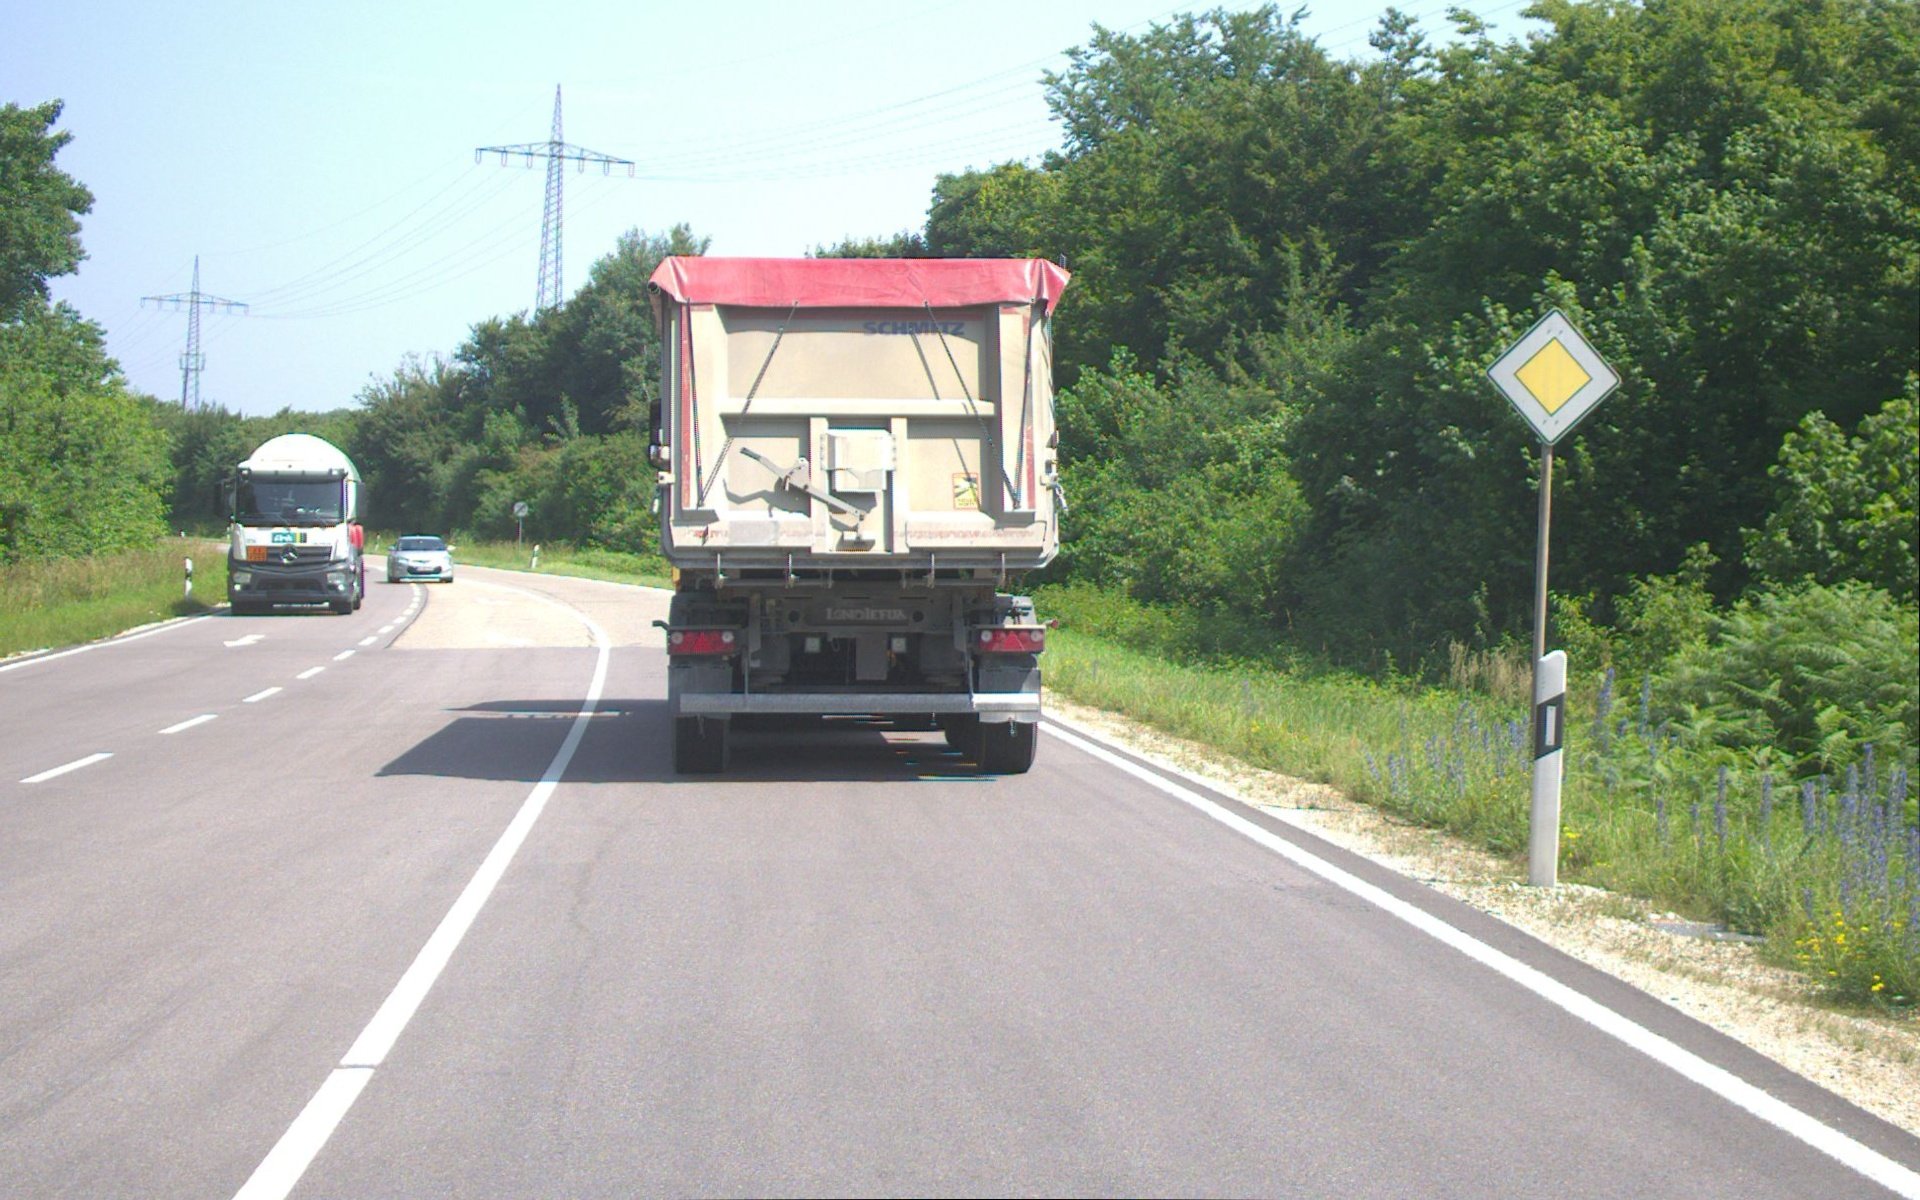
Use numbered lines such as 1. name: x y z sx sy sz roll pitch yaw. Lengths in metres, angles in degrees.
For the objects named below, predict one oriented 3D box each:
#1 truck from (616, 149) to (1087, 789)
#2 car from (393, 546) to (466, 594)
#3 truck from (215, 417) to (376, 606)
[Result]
1. truck: -1.026 -0.957 27.331 2.893 3.949 11.935 0 1 -3
2. car: -16.049 -0.898 104.149 1.708 1.414 4.098 0 0 -2
3. truck: -13.703 -1.779 71.477 2.626 3.658 8.798 0 1 -7
